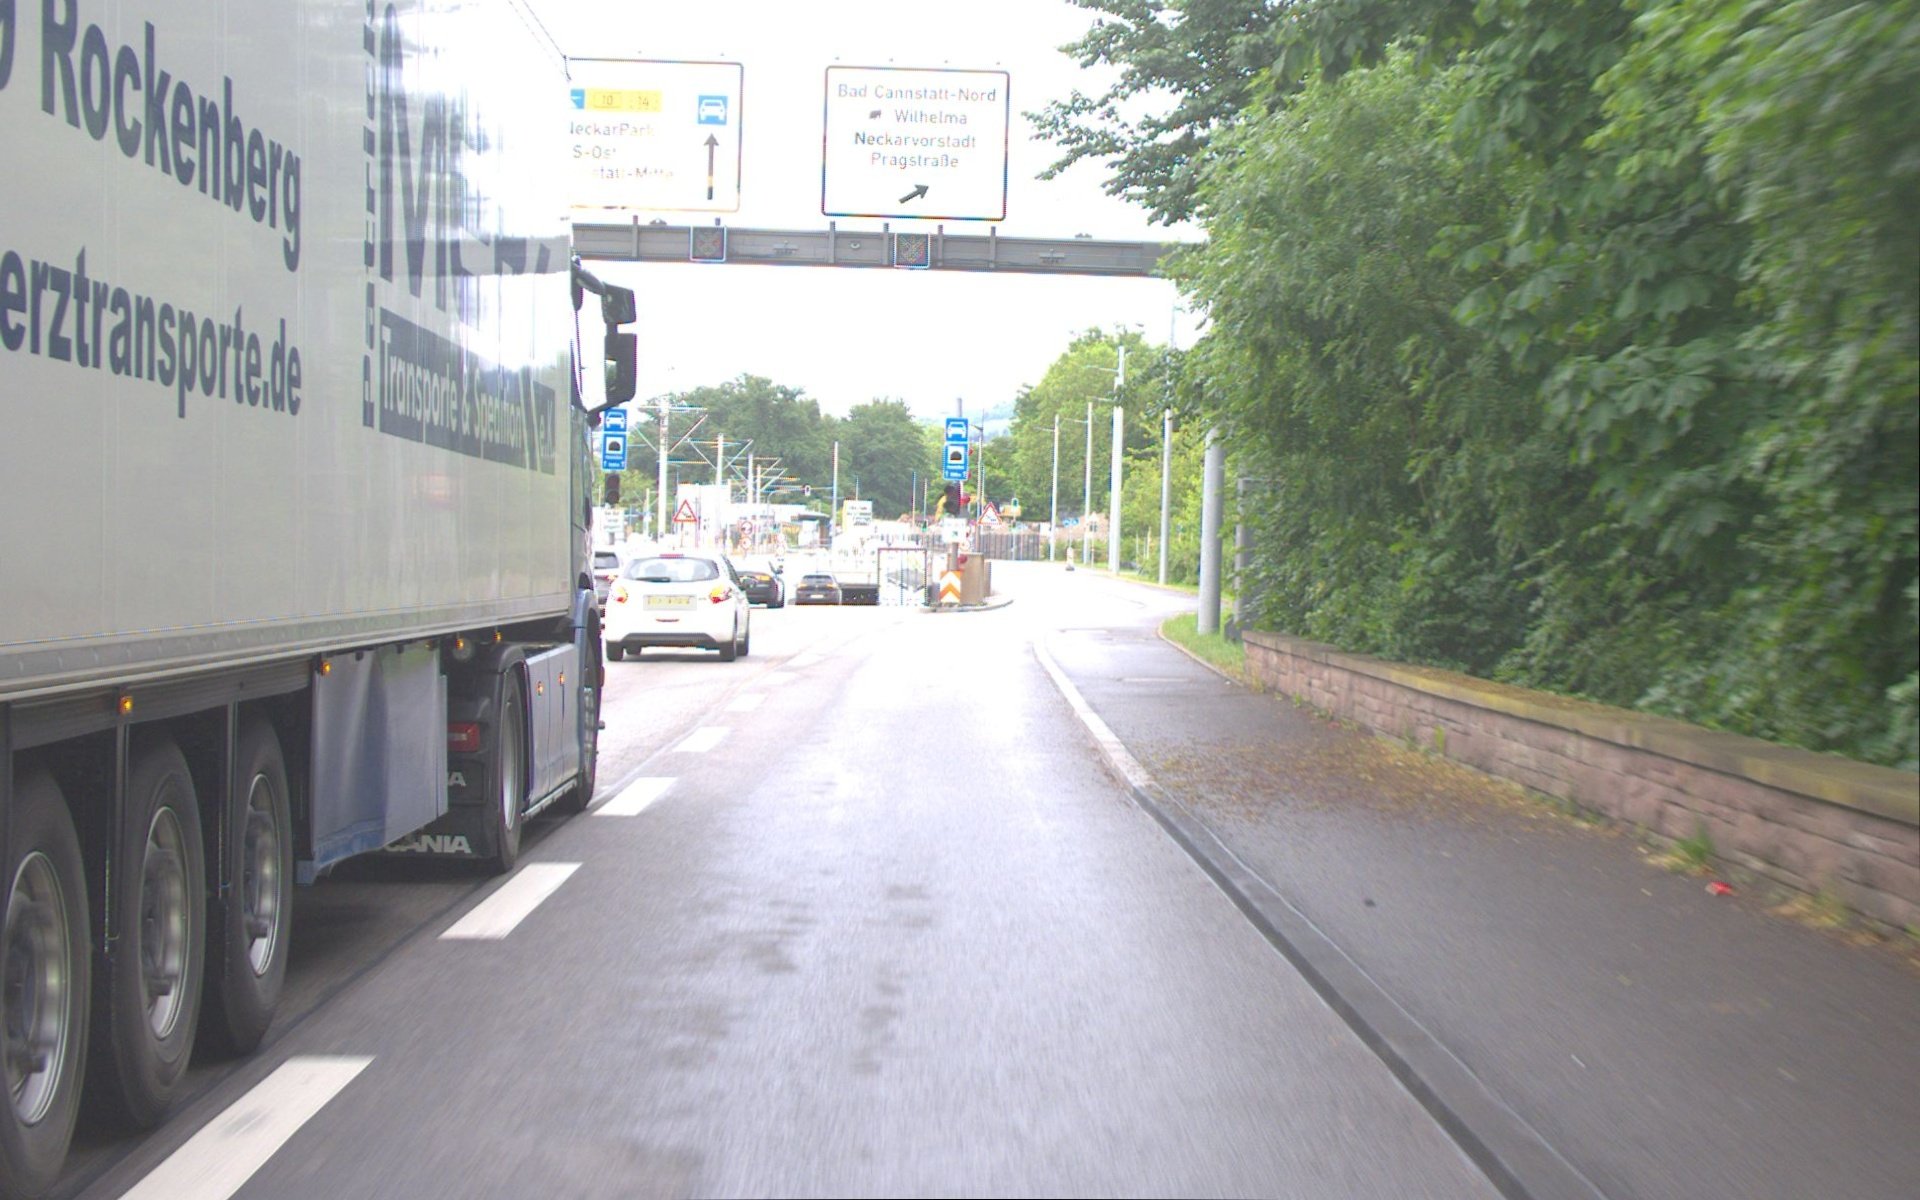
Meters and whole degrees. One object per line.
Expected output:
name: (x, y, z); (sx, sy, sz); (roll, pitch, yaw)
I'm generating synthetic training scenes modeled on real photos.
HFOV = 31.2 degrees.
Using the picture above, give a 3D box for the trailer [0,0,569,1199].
trailer: (-3.260, -0.707, 10.601); (2.762, 4.238, 13.184); (0, 1, -1)

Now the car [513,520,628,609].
car: (-7.013, -0.674, 62.211); (1.681, 1.441, 4.001); (1, 3, -1)

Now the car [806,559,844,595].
car: (-5.331, -0.916, 135.904); (1.426, 1.349, 2.960); (1, 1, -1)

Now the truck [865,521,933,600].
truck: (-3.209, -2.105, 182.466); (3.518, 4.026, 8.074); (1, 1, -1)

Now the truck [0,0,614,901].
truck: (-3.365, -0.923, 17.310); (2.756, 4.190, 6.307); (0, 1, -1)

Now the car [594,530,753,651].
car: (-3.760, -0.162, 45.677); (1.810, 1.419, 4.001); (1, 3, -1)
